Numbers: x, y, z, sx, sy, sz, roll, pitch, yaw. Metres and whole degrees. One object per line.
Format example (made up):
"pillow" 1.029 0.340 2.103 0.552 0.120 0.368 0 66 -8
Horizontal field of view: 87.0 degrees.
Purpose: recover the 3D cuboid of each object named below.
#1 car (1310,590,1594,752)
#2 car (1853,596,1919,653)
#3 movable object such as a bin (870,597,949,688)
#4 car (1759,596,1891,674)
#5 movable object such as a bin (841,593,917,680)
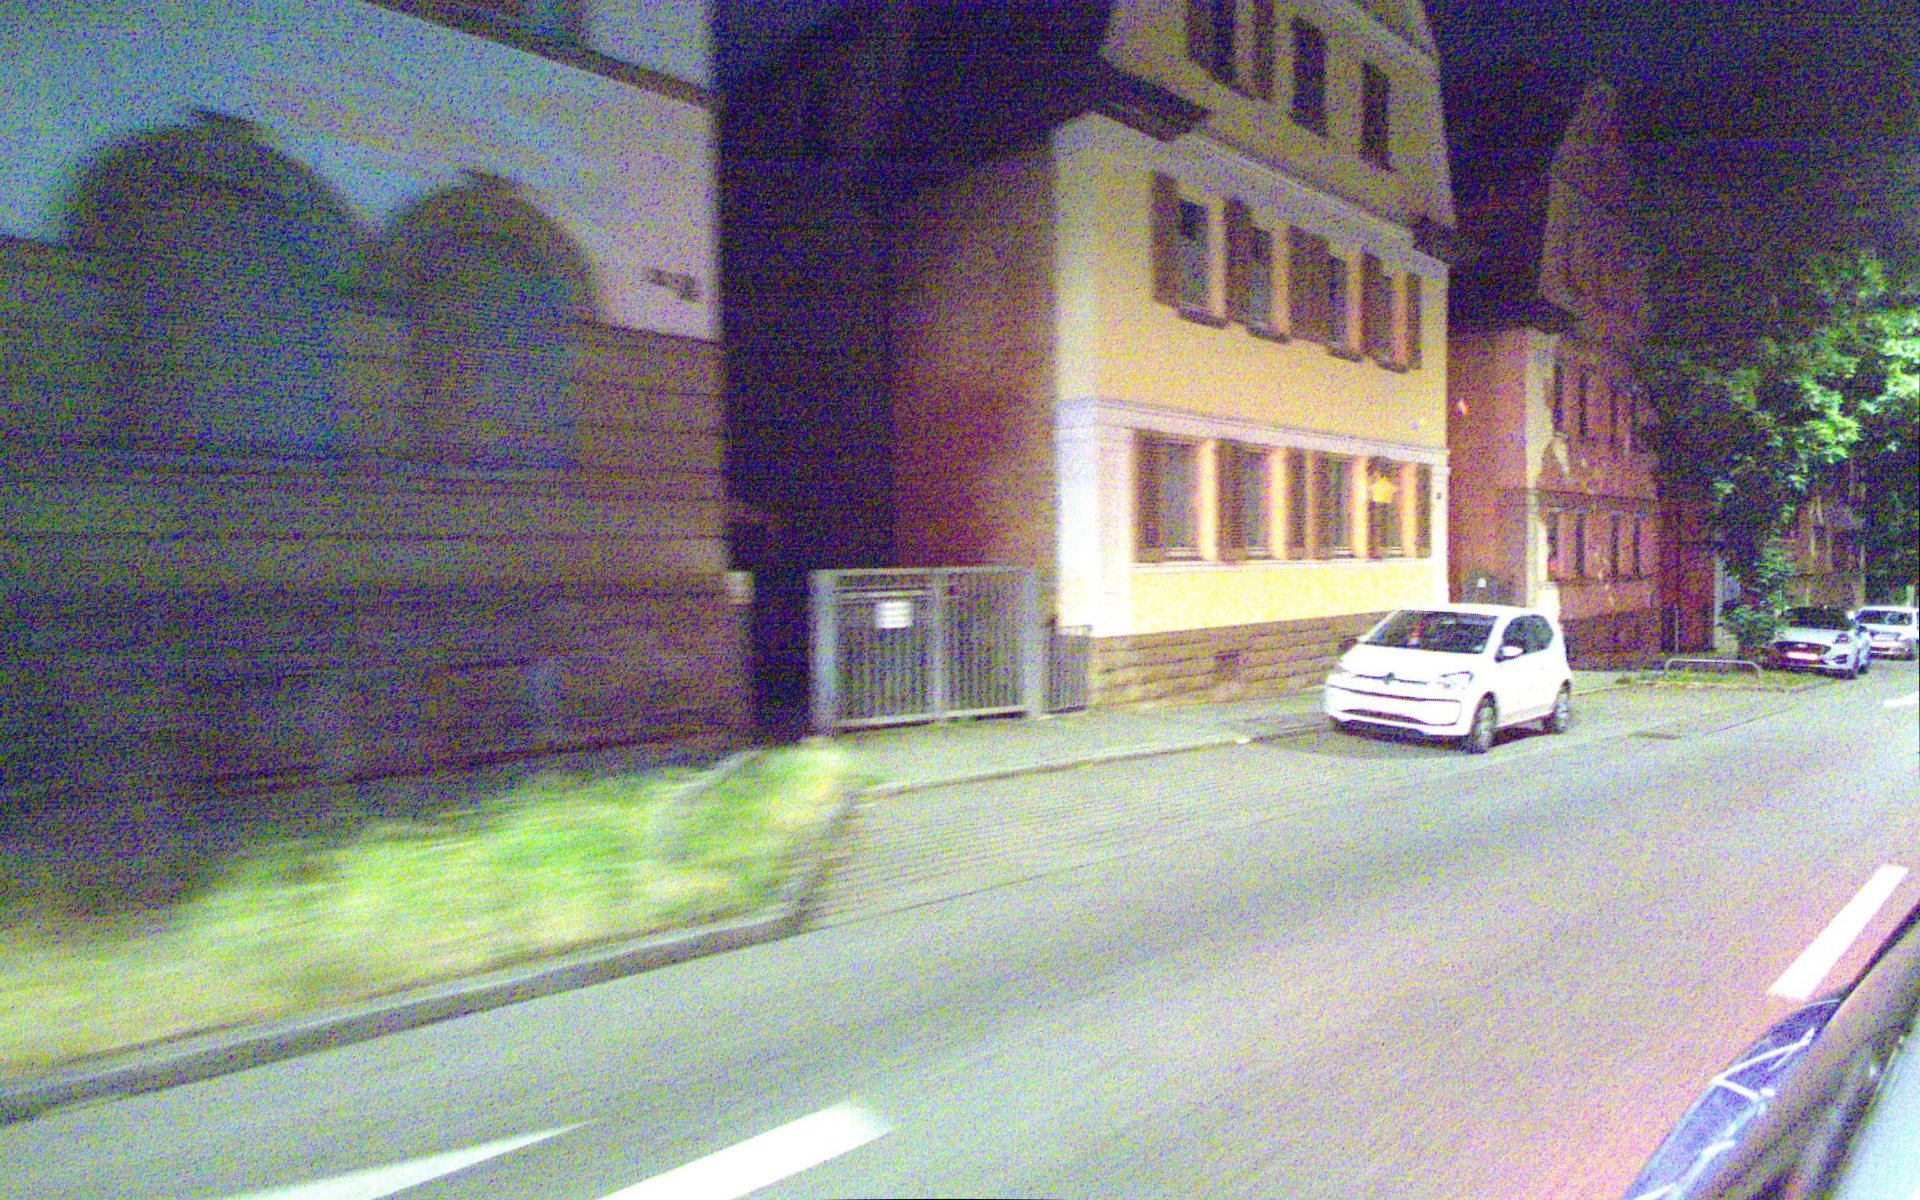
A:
"car" 5.687 0.687 11.541 3.541 1.503 1.671 1 2 -42
"car" 29.985 0.756 32.193 4.281 1.617 1.742 1 2 -40
"movable object such as a bin" -0.611 0.496 12.290 0.742 1.062 0.608 1 -1 -41
"car" 20.100 0.750 23.472 3.977 1.573 1.862 1 2 -43
"movable object such as a bin" -1.027 0.441 12.837 0.742 1.062 0.608 1 -1 -41
